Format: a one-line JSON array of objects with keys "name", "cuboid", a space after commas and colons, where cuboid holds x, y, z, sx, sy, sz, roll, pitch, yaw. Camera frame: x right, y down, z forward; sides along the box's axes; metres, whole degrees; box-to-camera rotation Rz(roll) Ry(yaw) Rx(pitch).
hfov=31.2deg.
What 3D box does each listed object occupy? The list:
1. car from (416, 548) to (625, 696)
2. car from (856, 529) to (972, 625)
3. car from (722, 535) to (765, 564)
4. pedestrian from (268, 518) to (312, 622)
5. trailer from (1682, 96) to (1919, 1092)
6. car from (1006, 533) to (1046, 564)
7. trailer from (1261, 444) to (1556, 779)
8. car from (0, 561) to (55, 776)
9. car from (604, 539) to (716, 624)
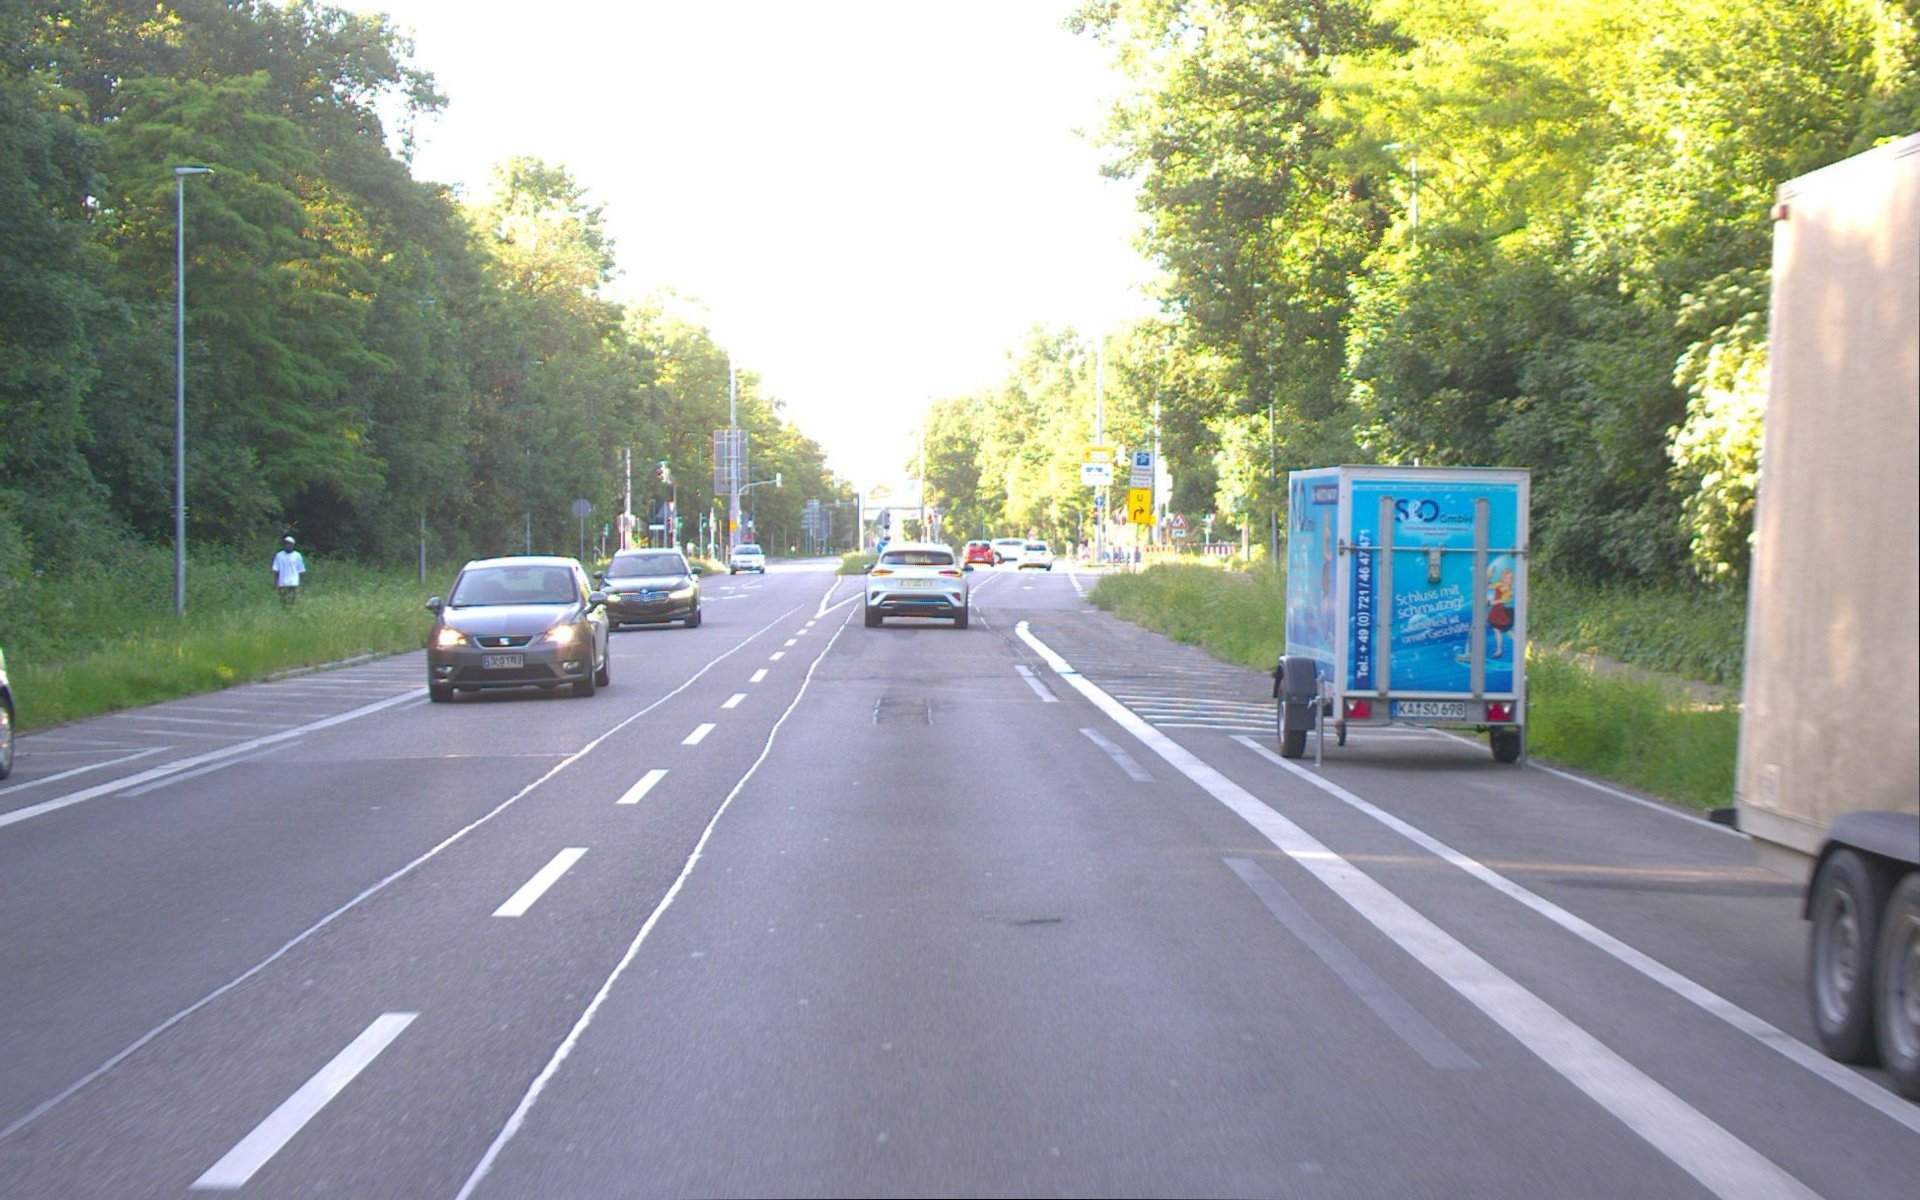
[{"name": "car", "cuboid": [-4.524, 0.186, 35.839, 1.678, 1.411, 4.000, -1, 1, 0]}, {"name": "car", "cuboid": [-0.834, -0.440, 61.661, 1.993, 1.634, 4.000, -1, 1, -1]}, {"name": "car", "cuboid": [-10.979, -2.557, 174.423, 1.993, 1.459, 4.000, 1, 1, -1]}, {"name": "pedestrian", "cuboid": [-13.021, -0.588, 66.869, 0.693, 2.007, 0.712, 1, 1, 0]}, {"name": "trailer", "cuboid": [3.871, -0.019, 10.292, 2.272, 2.835, 5.207, 1, 1, 0]}, {"name": "car", "cuboid": [3.502, -2.730, 182.597, 1.993, 1.612, 4.000, 1, 1, 0]}, {"name": "trailer", "cuboid": [3.217, 0.031, 25.413, 1.500, 2.228, 4.550, 1, 1, -1]}, {"name": "car", "cuboid": [-7.520, 0.544, 22.830, 1.867, 1.458, 4.133, -4, 1, 0]}, {"name": "car", "cuboid": [-5.539, -0.377, 63.898, 1.678, 1.485, 4.690, -1, 1, 0]}]
